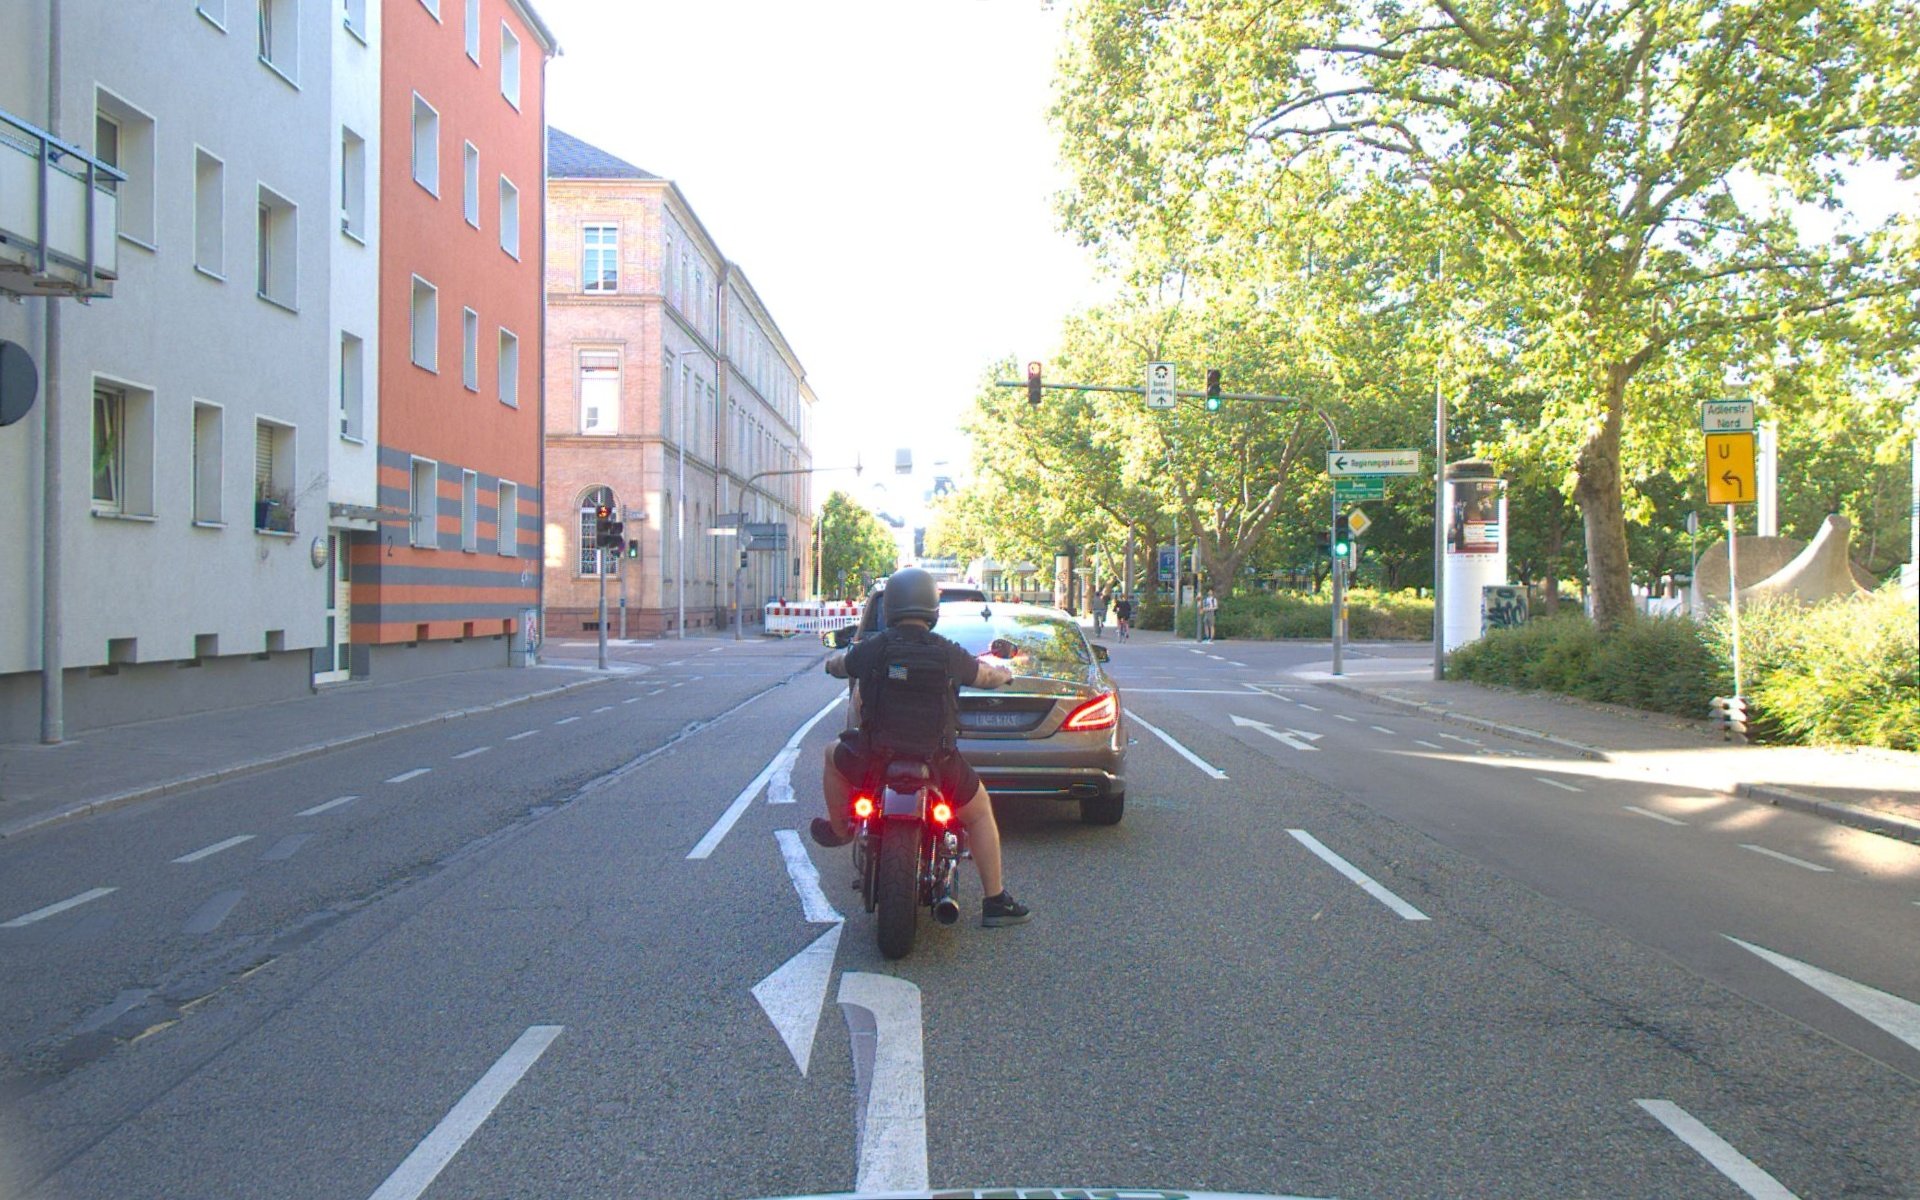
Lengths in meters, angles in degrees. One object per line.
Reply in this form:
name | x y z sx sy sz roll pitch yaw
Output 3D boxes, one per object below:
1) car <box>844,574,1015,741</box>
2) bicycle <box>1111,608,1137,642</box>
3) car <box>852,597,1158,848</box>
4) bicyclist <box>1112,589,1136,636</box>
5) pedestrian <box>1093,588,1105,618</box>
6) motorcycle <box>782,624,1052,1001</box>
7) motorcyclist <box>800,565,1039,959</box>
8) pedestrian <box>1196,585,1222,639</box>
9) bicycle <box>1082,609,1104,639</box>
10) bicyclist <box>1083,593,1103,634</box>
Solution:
car | -0.447 0.593 18.941 1.599 1.679 3.845 2 0 -6
bicycle | 5.496 0.831 55.462 0.643 1.089 1.926 2 0 -1
car | 0.238 0.718 11.652 1.791 1.445 3.814 1 0 -1
bicyclist | 5.503 0.422 55.536 0.643 1.557 0.852 2 0 -1
pedestrian | 7.484 0.155 88.988 0.580 1.606 0.527 2 0 -1
motorcycle | -0.177 0.798 7.410 0.991 1.329 2.672 0 0 -1
motorcyclist | -0.178 0.667 7.555 0.991 1.630 1.406 0 0 -1
pedestrian | 8.360 0.397 55.508 0.566 1.805 0.618 2 -1 -35
bicycle | 5.224 0.924 64.911 0.643 1.131 2.185 2 0 -1
bicyclist | 5.228 0.523 64.937 0.643 1.557 0.906 2 0 -1
